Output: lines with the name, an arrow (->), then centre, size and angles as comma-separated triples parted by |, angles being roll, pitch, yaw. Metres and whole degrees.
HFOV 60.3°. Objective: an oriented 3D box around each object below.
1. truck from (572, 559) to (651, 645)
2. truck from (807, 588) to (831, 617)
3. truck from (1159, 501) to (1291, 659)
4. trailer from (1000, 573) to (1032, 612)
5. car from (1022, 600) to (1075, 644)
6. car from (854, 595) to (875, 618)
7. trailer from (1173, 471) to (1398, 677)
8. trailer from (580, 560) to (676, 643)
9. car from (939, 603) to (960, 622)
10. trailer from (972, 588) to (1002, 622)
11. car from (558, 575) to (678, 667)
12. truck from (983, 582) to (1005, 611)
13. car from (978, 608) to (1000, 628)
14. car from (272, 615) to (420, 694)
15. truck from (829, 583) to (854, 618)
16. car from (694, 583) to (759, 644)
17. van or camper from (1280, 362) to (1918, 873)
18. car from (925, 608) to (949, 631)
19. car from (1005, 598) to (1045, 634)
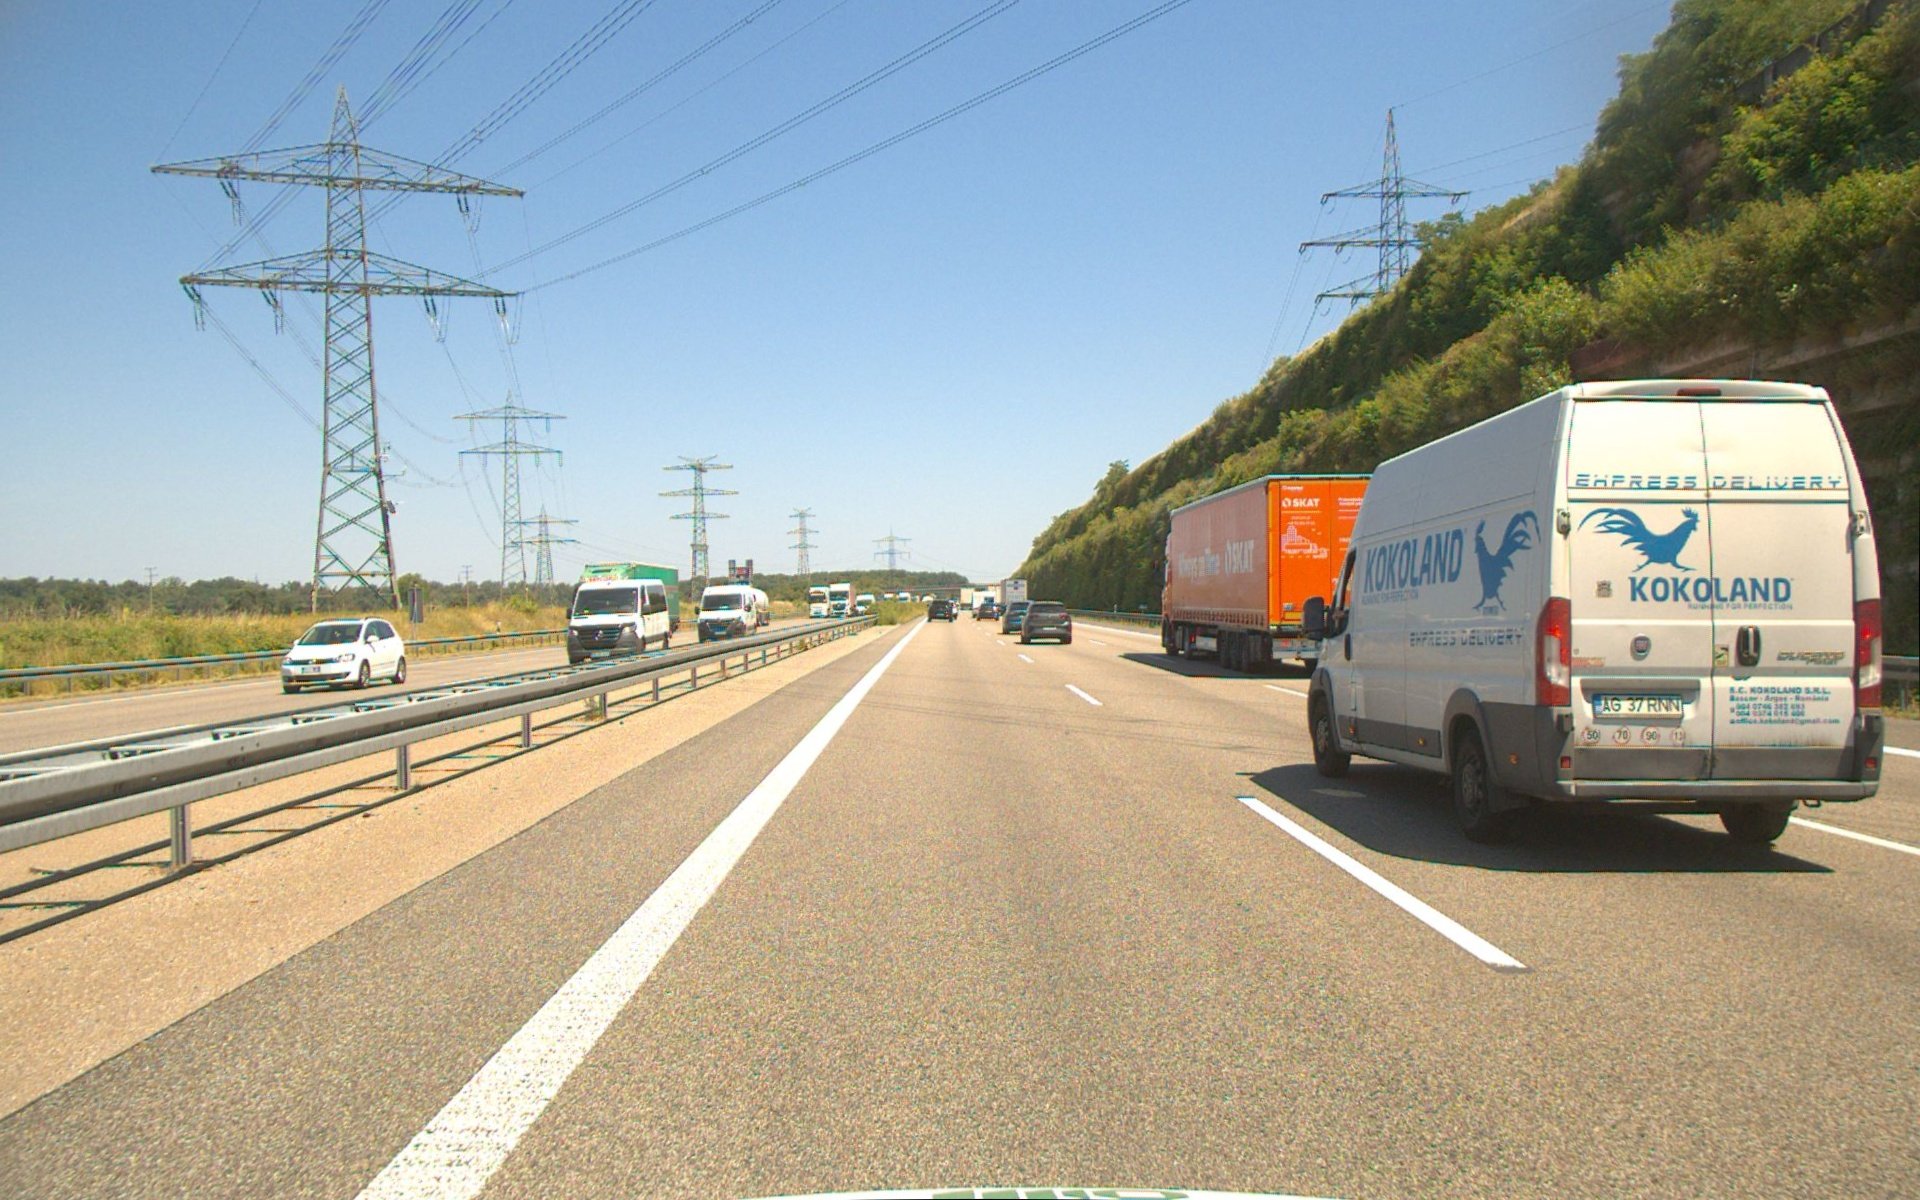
truck -> -17.851, 0.099, 85.014 | 2.644, 4.207, 6.579 | -1, 0, -1
truck -> -19.047, 0.366, 223.616 | 2.778, 3.816, 6.847 | -2, 0, -2
truck -> 7.245, -0.524, 46.035 | 2.564, 4.062, 6.525 | 0, 0, -1
trailer -> 6.458, -0.822, 191.073 | 3.118, 4.193, 13.430 | -1, 0, 0
car -> 3.271, 0.805, 61.883 | 1.713, 1.552, 3.994 | -1, 0, -1
car -> -10.657, 0.751, 185.276 | 1.953, 2.480, 6.030 | -2, 0, 0
trailer -> 7.321, -0.515, 39.562 | 2.591, 4.075, 13.604 | 0, 0, -1
trailer -> -17.948, 0.084, 90.524 | 2.615, 4.156, 13.912 | -1, 0, -1
car -> -0.954, 1.128, 149.068 | 1.792, 1.700, 3.999 | -1, 0, -1
trailer -> 2.636, 0.493, 164.433 | 2.557, 3.269, 9.950 | -1, 0, -1
car -> -9.483, 0.545, 46.456 | 2.066, 2.338, 6.705 | -2, 0, -1
truck -> 5.301, -0.499, 258.121 | 3.055, 4.355, 11.932 | -1, 0, 0
car -> 2.397, 1.483, 138.783 | 1.792, 1.552, 4.000 | -1, 0, 0
car -> -13.908, 1.188, 37.735 | 1.673, 1.550, 4.513 | -3, 0, -1
truck -> -14.781, 0.081, 206.293 | 2.547, 4.285, 5.909 | -2, 0, 0
car -> -10.132, 0.570, 72.145 | 2.006, 2.481, 6.067 | -2, 0, -2
van or camper -> 4.199, 0.089, 12.538 | 2.054, 2.817, 6.754 | 0, 0, -2
car -> -1.811, 1.517, 129.576 | 1.792, 1.700, 3.999 | -1, 0, -1
car -> 3.162, 0.769, 81.441 | 1.757, 1.682, 4.137 | 0, 0, 0
